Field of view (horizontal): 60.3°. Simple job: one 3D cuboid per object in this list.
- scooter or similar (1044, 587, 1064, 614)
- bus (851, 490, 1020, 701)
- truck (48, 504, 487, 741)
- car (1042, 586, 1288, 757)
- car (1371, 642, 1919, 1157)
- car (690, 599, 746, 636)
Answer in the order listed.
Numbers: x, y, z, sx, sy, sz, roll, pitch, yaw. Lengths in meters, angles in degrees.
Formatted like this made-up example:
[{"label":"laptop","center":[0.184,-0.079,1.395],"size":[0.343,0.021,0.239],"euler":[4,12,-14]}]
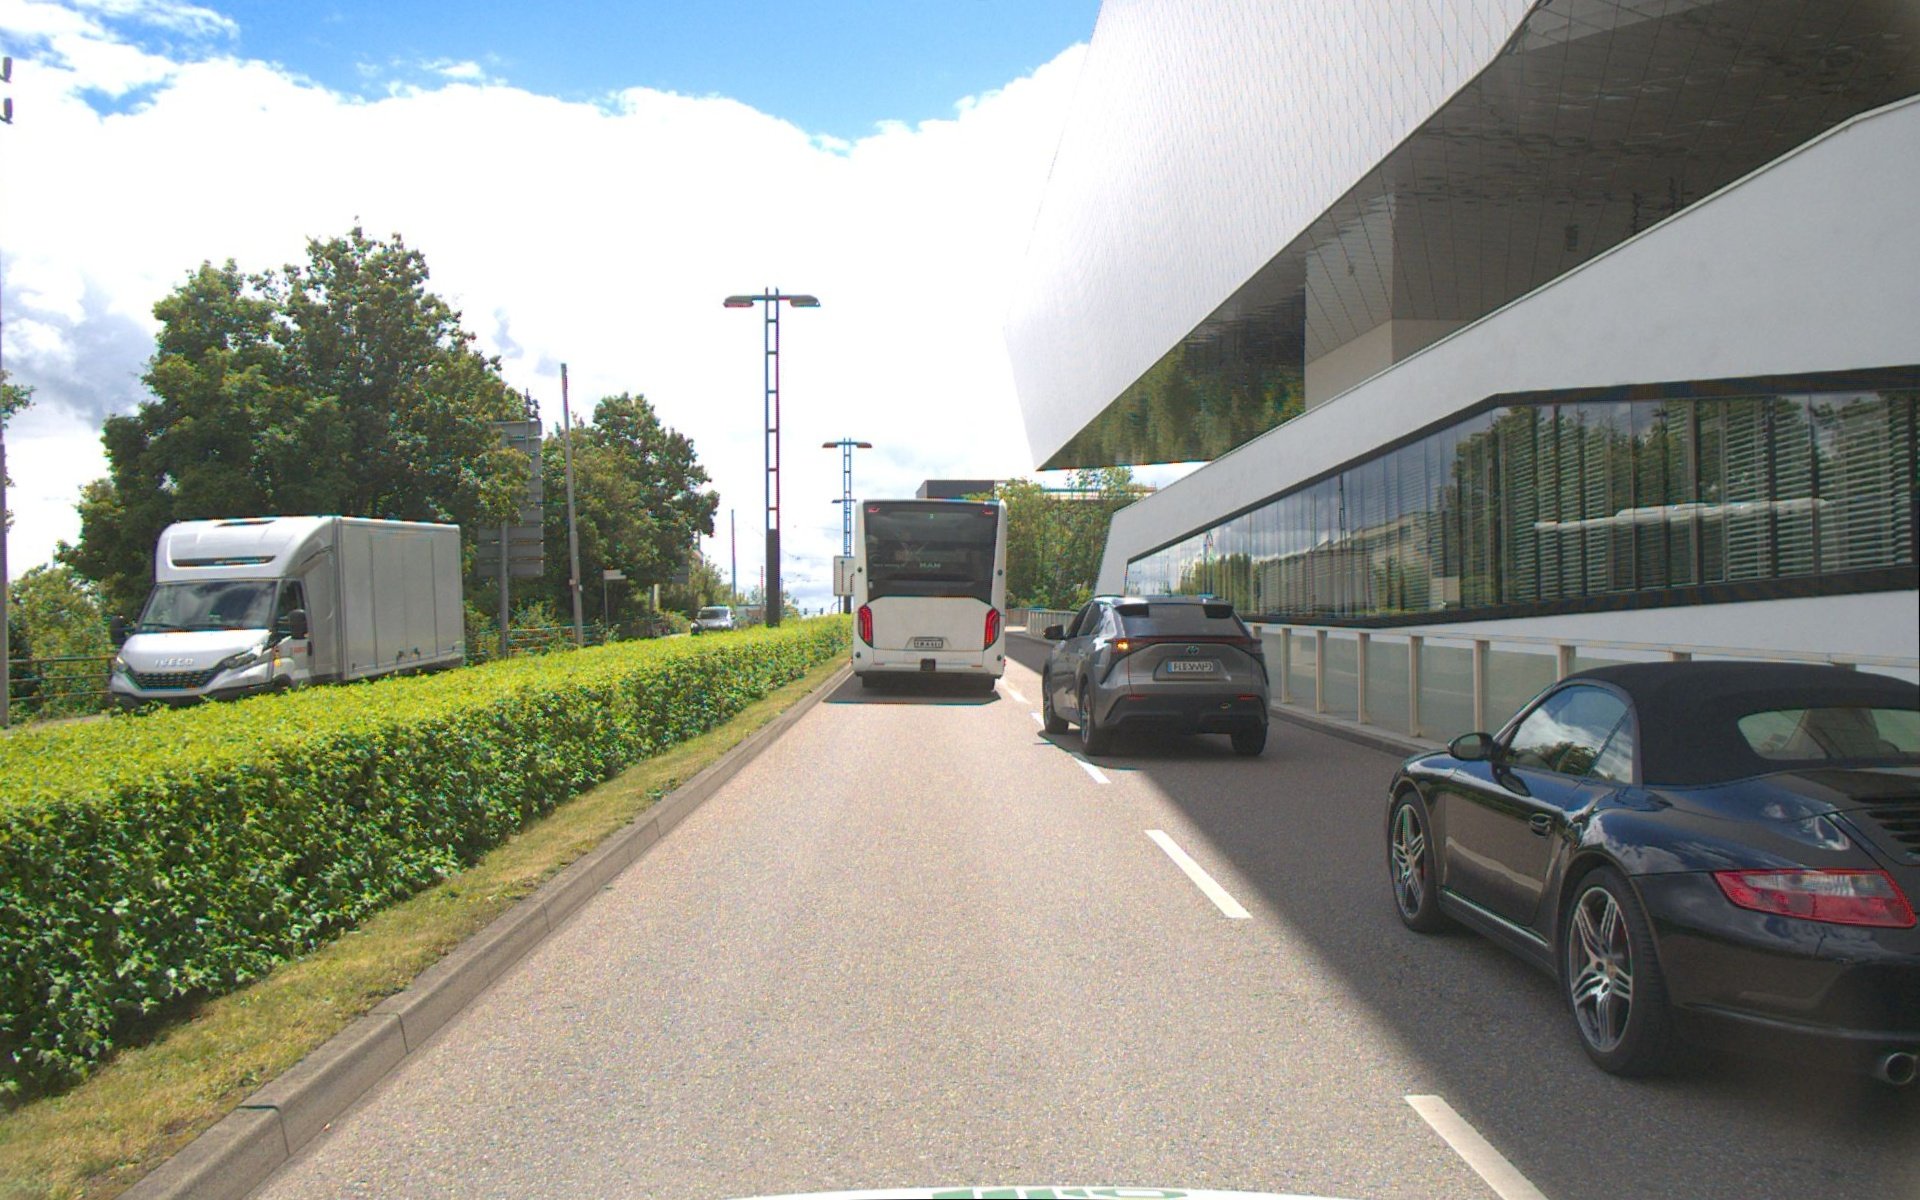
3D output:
[{"label":"scooter or similar","center":[4.511,0.039,79.621],"size":[0.640,1.235,1.855],"euler":[-1,-1,-5]},{"label":"bus","center":[-0.530,-0.124,32.316],"size":[2.634,3.312,12.054],"euler":[1,1,-1]},{"label":"truck","center":[-9.959,0.153,25.288],"size":[2.797,2.907,9.376],"euler":[-1,2,-1]},{"label":"car","center":[2.082,0.716,17.989],"size":[1.843,1.622,4.225],"euler":[1,-1,-5]},{"label":"car","center":[3.016,0.849,6.467],"size":[1.685,1.297,4.086],"euler":[0,-1,-2]},{"label":"car","center":[-10.556,0.738,72.429],"size":[1.802,1.534,4.561],"euler":[-1,0,0]}]
